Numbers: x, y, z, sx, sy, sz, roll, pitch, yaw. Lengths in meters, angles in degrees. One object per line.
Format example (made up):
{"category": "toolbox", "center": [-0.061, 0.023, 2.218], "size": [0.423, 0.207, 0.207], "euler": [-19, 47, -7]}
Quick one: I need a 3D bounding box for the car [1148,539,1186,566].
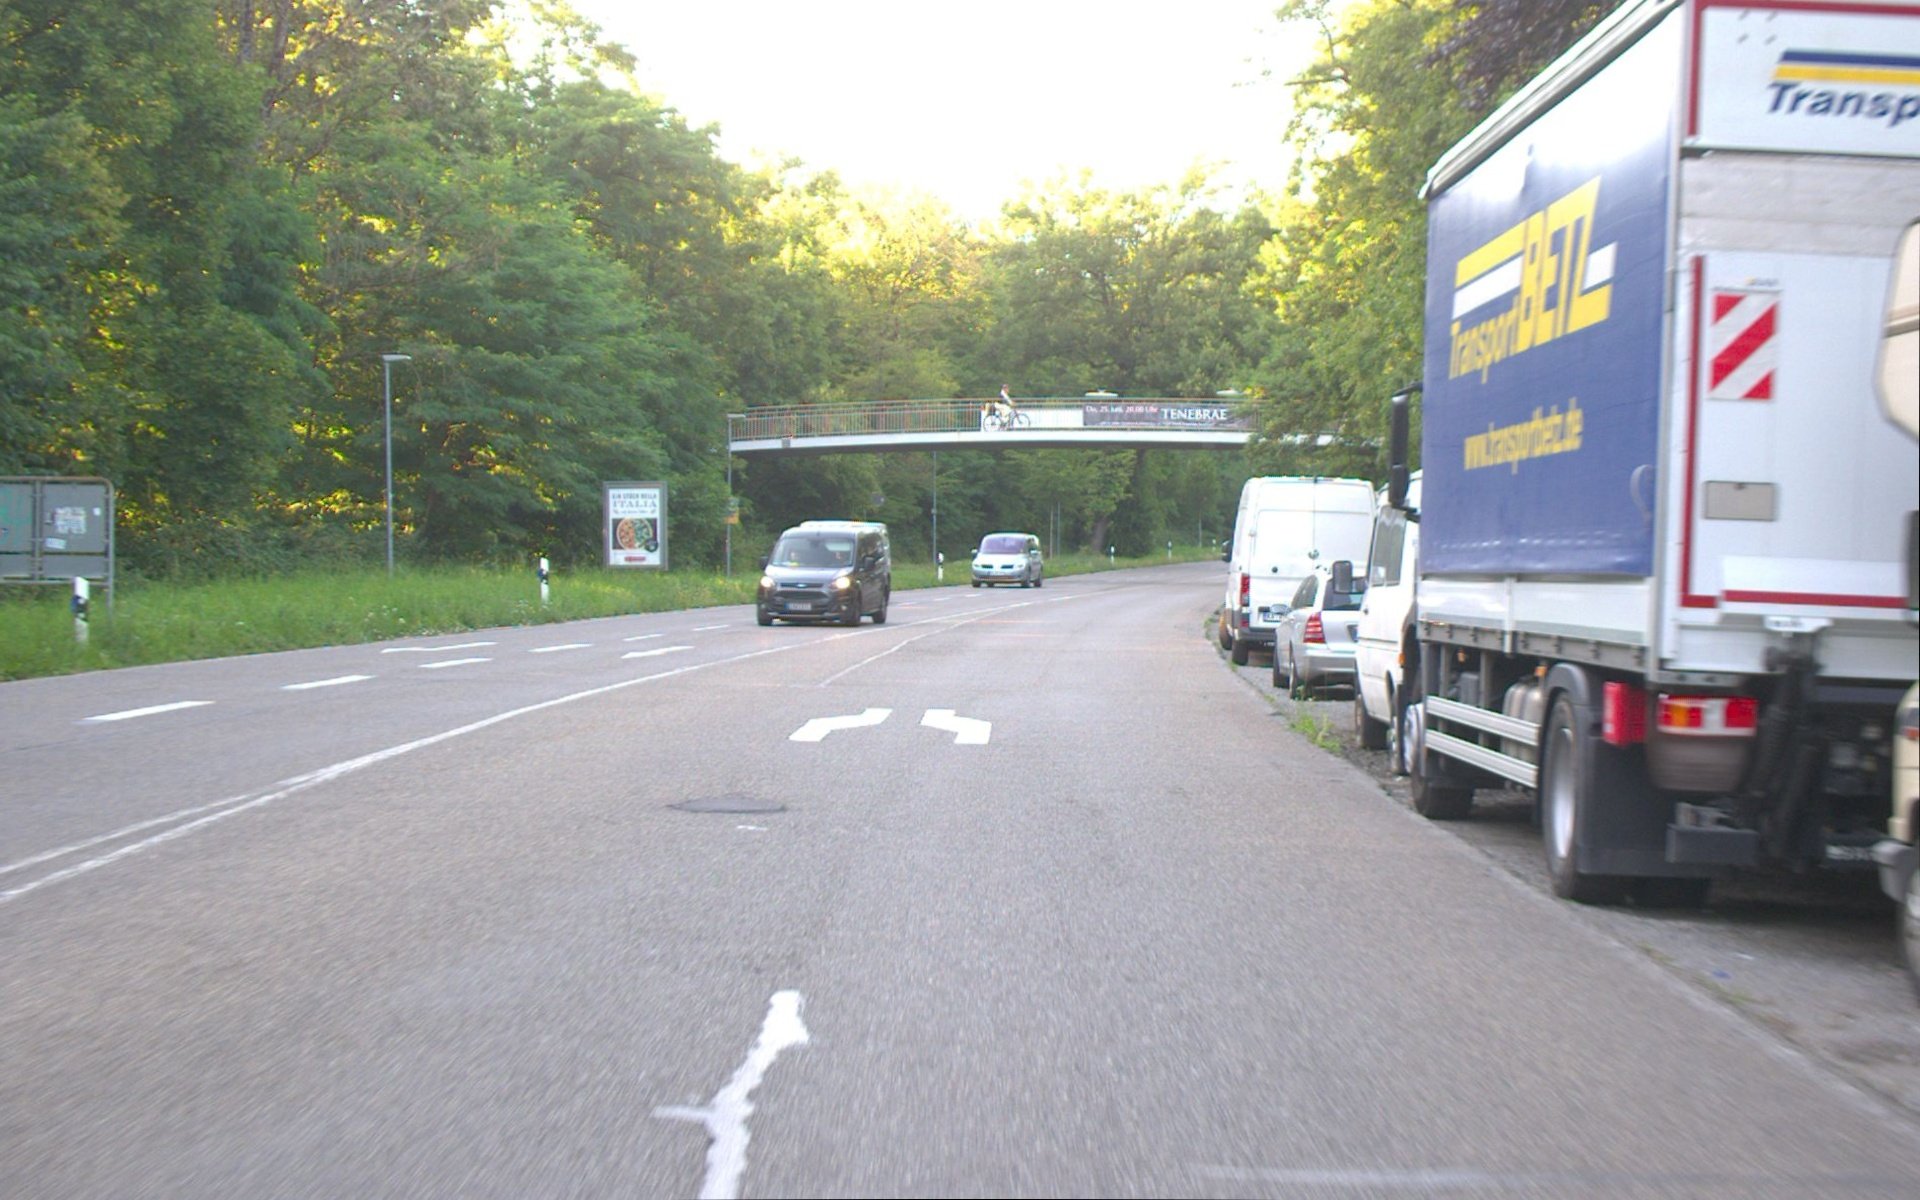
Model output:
{"category": "car", "center": [11.244, -2.586, 186.756], "size": [1.892, 1.442, 4.109], "euler": [0, 1, 6]}

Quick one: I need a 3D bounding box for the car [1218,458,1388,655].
{"category": "car", "center": [4.747, -0.625, 48.316], "size": [1.964, 2.503, 6.015], "euler": [3, 1, 3]}

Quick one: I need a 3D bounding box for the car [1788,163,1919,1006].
{"category": "car", "center": [4.540, -0.014, 10.106], "size": [2.408, 2.848, 5.933], "euler": [1, 1, -3]}

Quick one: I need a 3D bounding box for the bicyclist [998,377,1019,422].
{"category": "bicyclist", "center": [1.757, -7.232, 124.022], "size": [0.665, 1.576, 0.547], "euler": [2, 1, 8]}

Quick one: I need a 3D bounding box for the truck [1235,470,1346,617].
{"category": "truck", "center": [6.570, -1.118, 68.184], "size": [1.994, 2.708, 6.614], "euler": [2, 1, 6]}

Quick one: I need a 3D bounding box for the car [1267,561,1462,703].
{"category": "car", "center": [4.383, 0.309, 37.776], "size": [1.683, 1.368, 4.270], "euler": [3, 1, 2]}

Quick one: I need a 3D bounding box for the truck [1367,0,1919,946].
{"category": "truck", "center": [4.017, -0.766, 18.071], "size": [2.658, 4.014, 9.722], "euler": [1, 1, 1]}

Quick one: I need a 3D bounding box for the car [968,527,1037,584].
{"category": "car", "center": [1.391, -1.432, 110.455], "size": [1.844, 1.729, 3.999], "euler": [2, 1, 6]}

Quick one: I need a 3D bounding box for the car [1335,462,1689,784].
{"category": "car", "center": [4.173, 0.118, 26.807], "size": [1.993, 2.182, 4.928], "euler": [3, 1, 2]}

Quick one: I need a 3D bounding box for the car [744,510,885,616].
{"category": "car", "center": [-2.586, -0.675, 62.167], "size": [1.844, 1.794, 4.747], "euler": [2, 1, 6]}

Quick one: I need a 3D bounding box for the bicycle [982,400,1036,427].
{"category": "bicycle", "center": [1.764, -6.728, 124.017], "size": [1.845, 0.946, 0.550], "euler": [2, 1, 8]}
